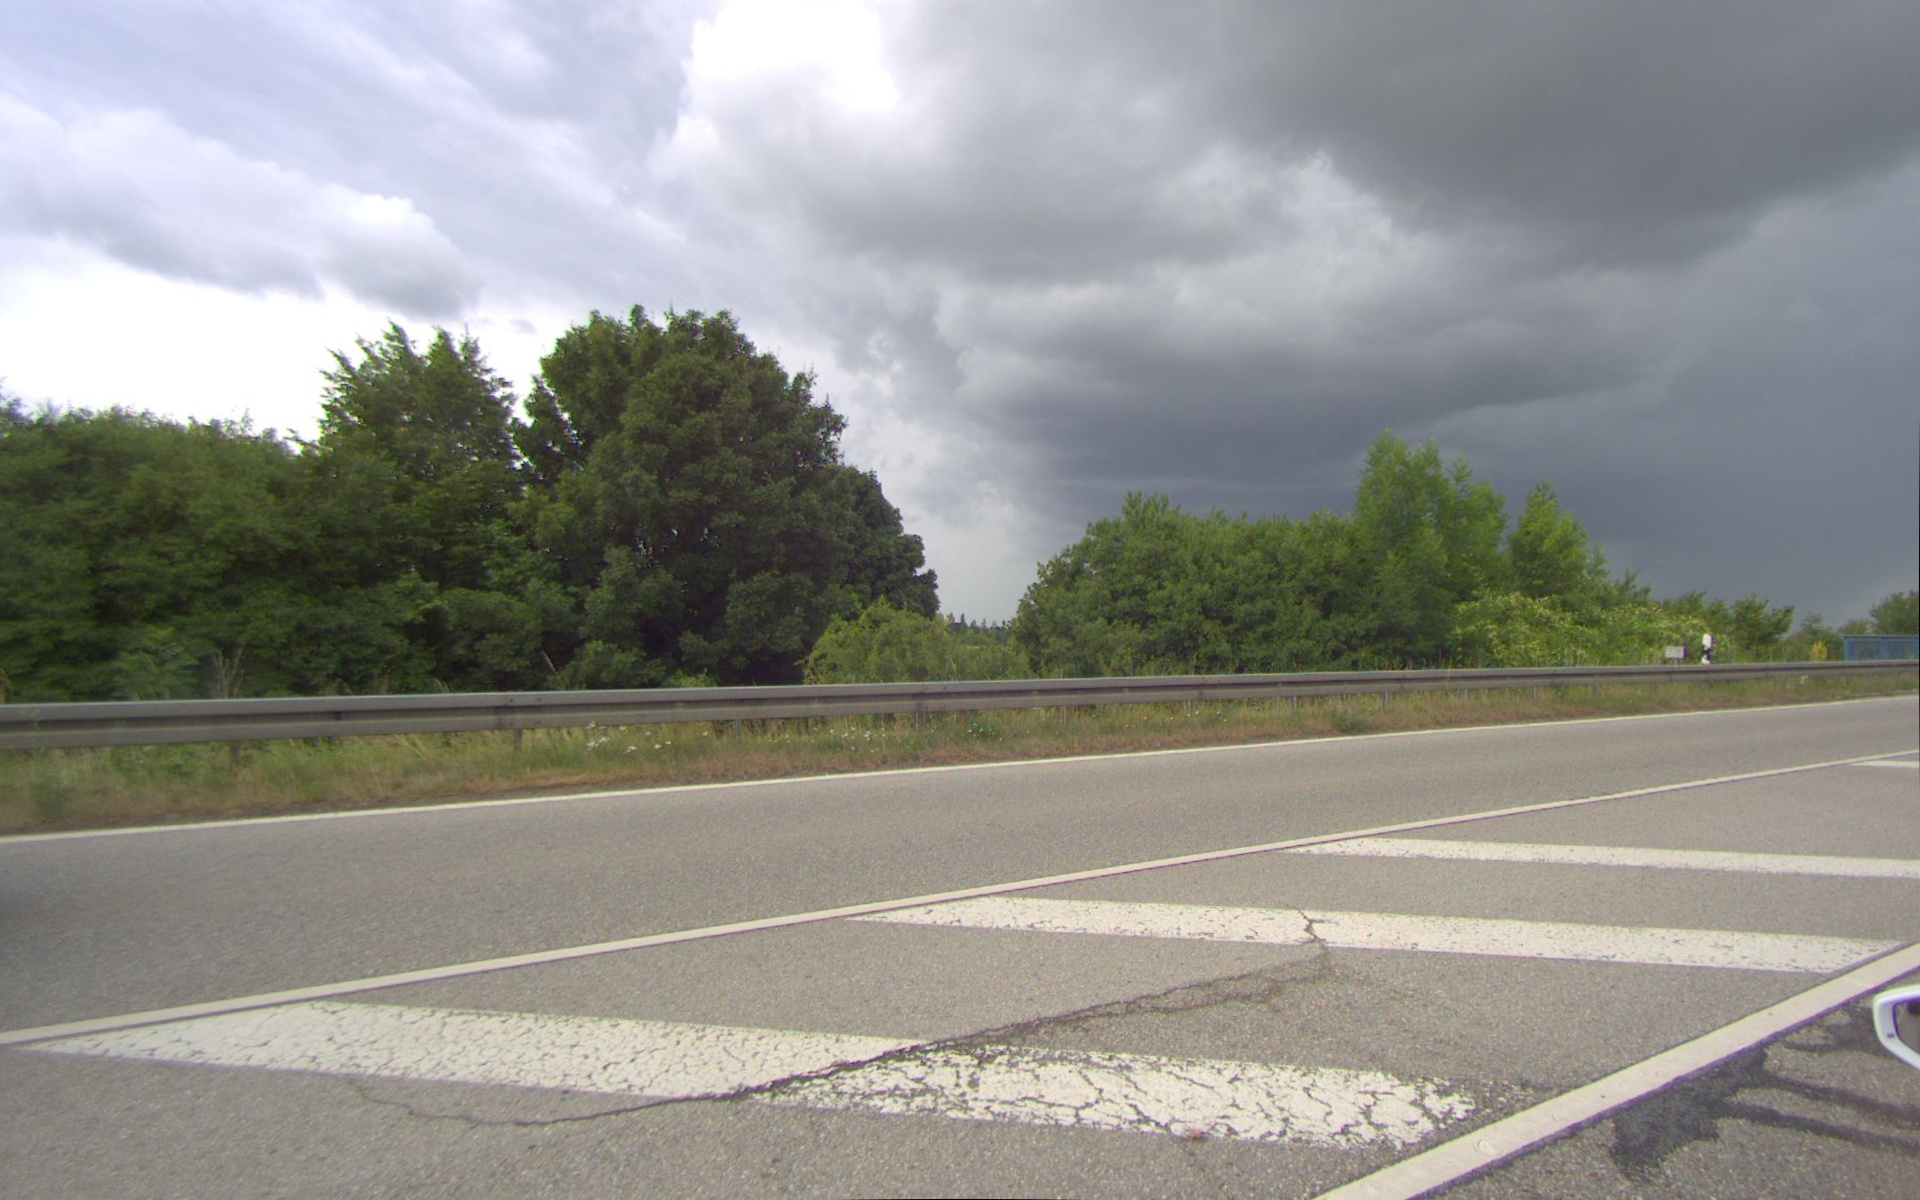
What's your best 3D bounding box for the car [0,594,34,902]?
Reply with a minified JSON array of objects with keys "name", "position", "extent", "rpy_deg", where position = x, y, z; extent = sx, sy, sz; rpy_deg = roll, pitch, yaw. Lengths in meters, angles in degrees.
[{"name":"car","position":[-6.209,0.646,3.254],"extent":[4.396,1.469,1.790],"rpy_deg":[2,-2,-32]}]
